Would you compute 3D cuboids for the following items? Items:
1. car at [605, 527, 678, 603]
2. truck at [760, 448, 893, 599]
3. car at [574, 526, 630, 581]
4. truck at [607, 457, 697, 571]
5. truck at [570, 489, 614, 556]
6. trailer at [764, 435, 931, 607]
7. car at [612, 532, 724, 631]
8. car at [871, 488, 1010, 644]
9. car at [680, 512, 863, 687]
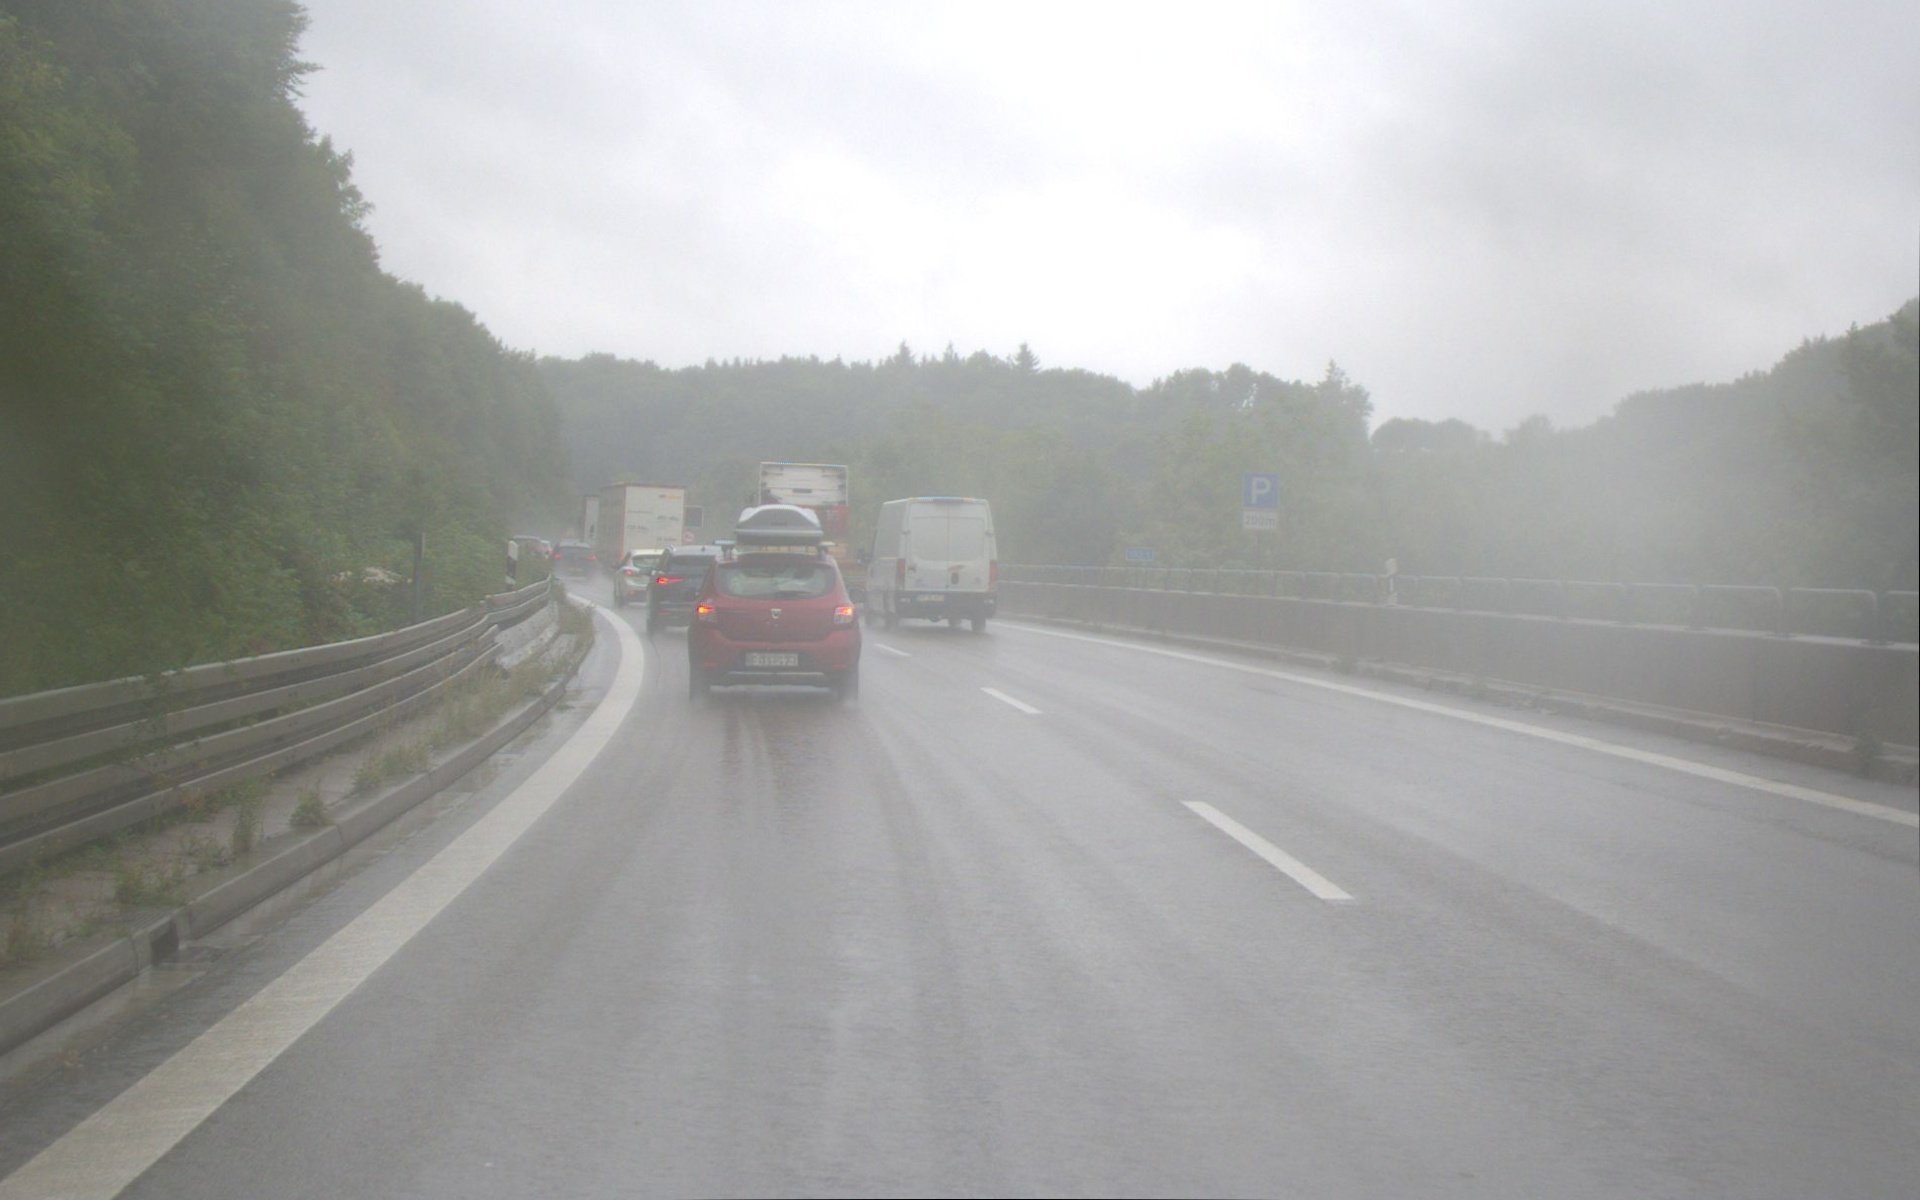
[{"bbox_3d":[-7.878,-0.859,84.873,1.715,1.811,3.893,1,0,-6],"label":"car"},{"bbox_3d":[-3.792,-2.113,96.560,3.219,3.964,5.440,3,0,-6],"label":"truck"},{"bbox_3d":[-13.562,-1.750,130.488,1.993,2.007,4.001,1,0,-5],"label":"car"},{"bbox_3d":[-13.109,-3.570,145.689,3.222,4.666,8.302,1,0,-9],"label":"truck"},{"bbox_3d":[-19.495,-4.062,181.819,2.105,3.409,6.224,1,0,-7],"label":"truck"},{"bbox_3d":[-3.096,-1.993,89.840,3.218,3.985,13.526,3,0,-6],"label":"trailer"},{"bbox_3d":[-5.163,-0.337,61.236,1.823,1.690,4.000,1,0,-3],"label":"car"},{"bbox_3d":[-0.464,-0.680,68.562,2.206,2.784,7.383,4,0,-3],"label":"car"},{"bbox_3d":[-1.902,-0.020,35.477,1.758,1.679,4.000,1,0,-2],"label":"car"}]
